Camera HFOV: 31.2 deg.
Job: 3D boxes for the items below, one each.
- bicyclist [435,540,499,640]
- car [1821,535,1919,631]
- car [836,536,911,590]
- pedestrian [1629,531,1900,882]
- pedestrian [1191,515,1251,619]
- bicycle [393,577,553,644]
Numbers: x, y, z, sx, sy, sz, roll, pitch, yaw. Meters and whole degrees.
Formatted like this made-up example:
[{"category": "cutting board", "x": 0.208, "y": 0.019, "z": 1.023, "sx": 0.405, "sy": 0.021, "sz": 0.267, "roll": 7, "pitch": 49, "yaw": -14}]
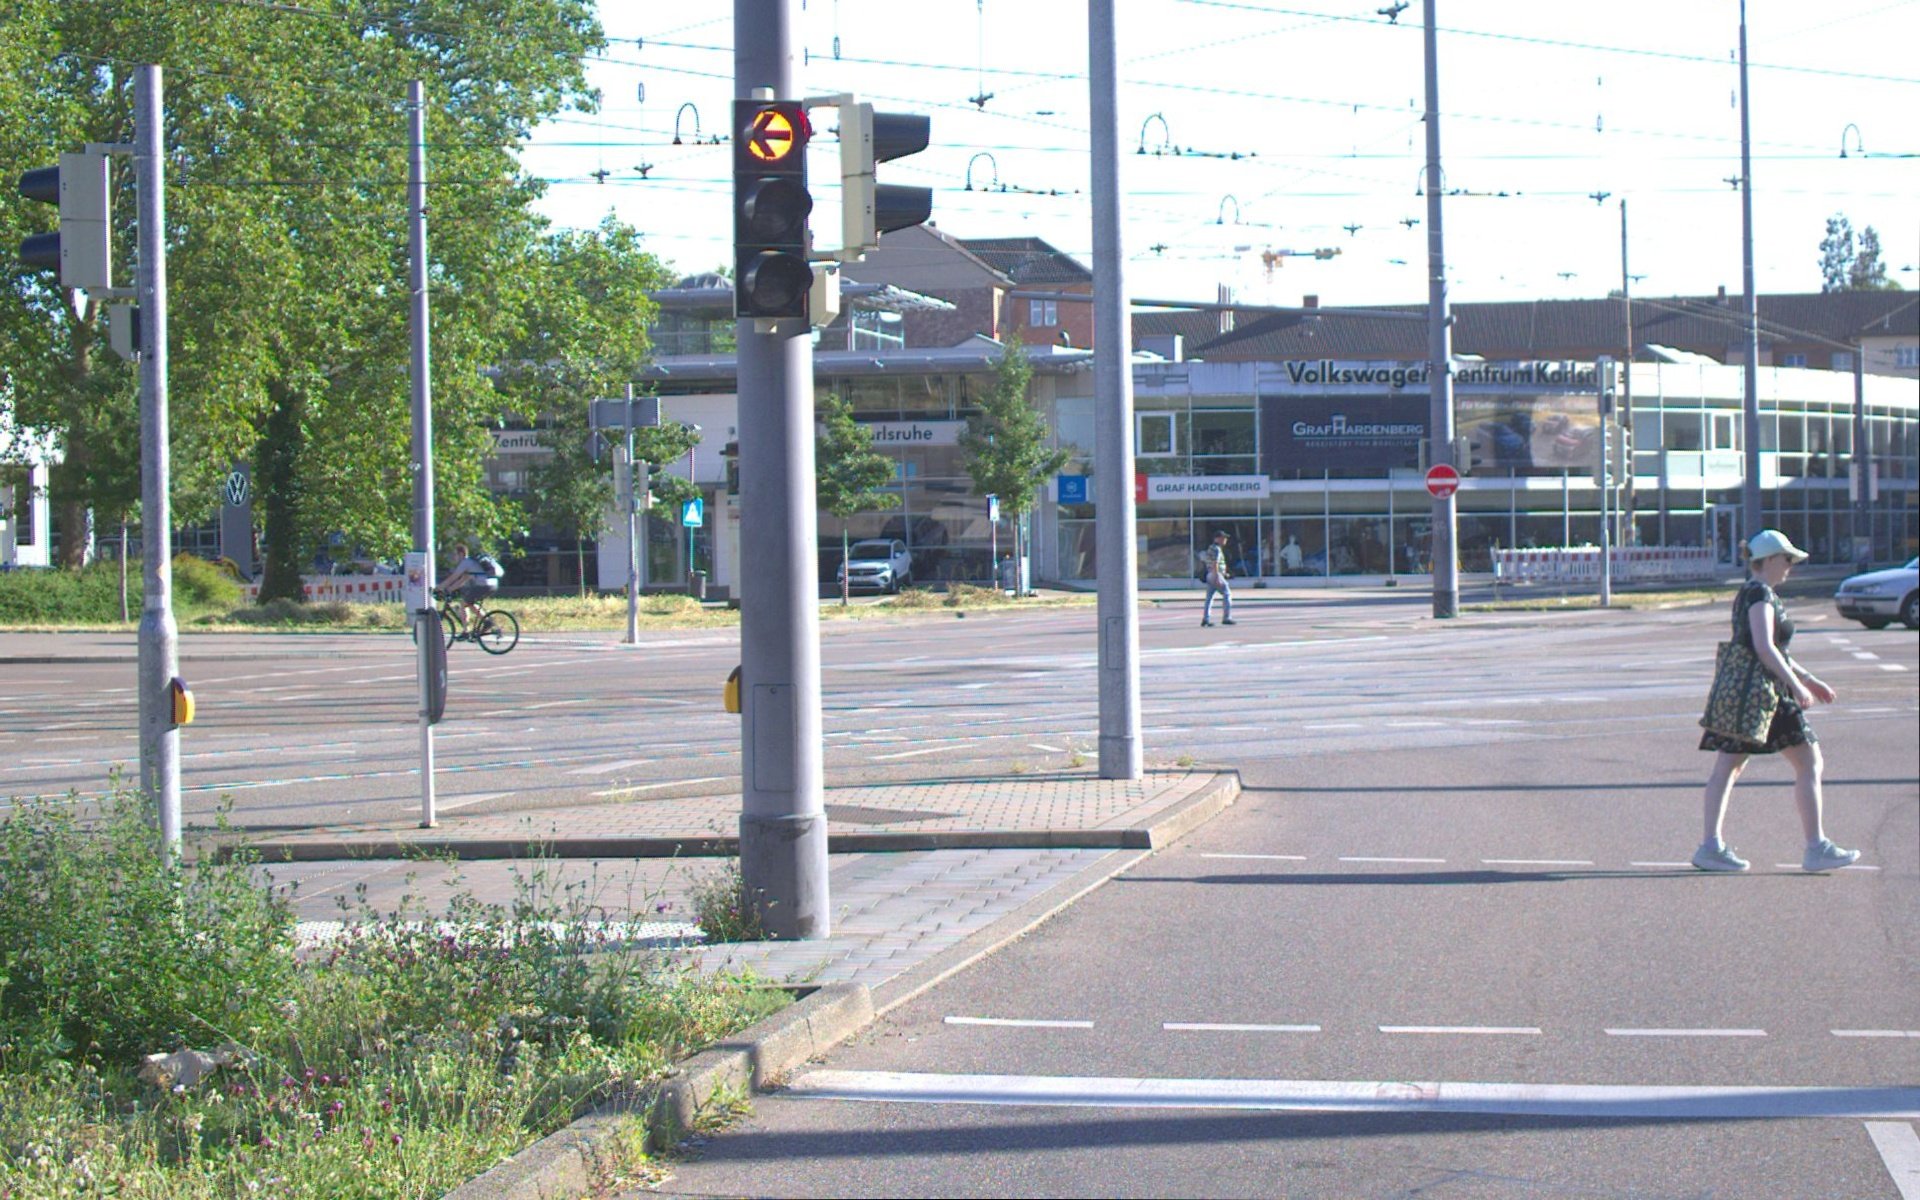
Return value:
[{"category": "bicyclist", "x": -7.708, "y": -0.163, "z": 53.809, "sx": 0.923, "sy": 1.554, "sz": 0.963, "roll": -1, "pitch": 1, "yaw": -6}, {"category": "car", "x": 15.675, "y": -0.289, "z": 53.281, "sx": 4.094, "sy": 1.447, "sz": 1.954, "roll": -1, "pitch": 1, "yaw": -4}, {"category": "car", "x": -2.704, "y": -1.189, "z": 108.059, "sx": 1.994, "sy": 1.529, "sz": 4.000, "roll": 0, "pitch": 3, "yaw": 4}, {"category": "pedestrian", "x": 3.772, "y": 0.484, "z": 16.182, "sx": 1.092, "sy": 1.601, "sz": 0.699, "roll": 0, "pitch": 3, "yaw": -1}, {"category": "pedestrian", "x": 4.637, "y": -0.591, "z": 60.991, "sx": 0.989, "sy": 1.810, "sz": 0.920, "roll": 0, "pitch": 3, "yaw": 8}, {"category": "bicycle", "x": -7.614, "y": 0.155, "z": 53.826, "sx": 2.437, "sy": 1.000, "sz": 0.963, "roll": -1, "pitch": 1, "yaw": -6}]
